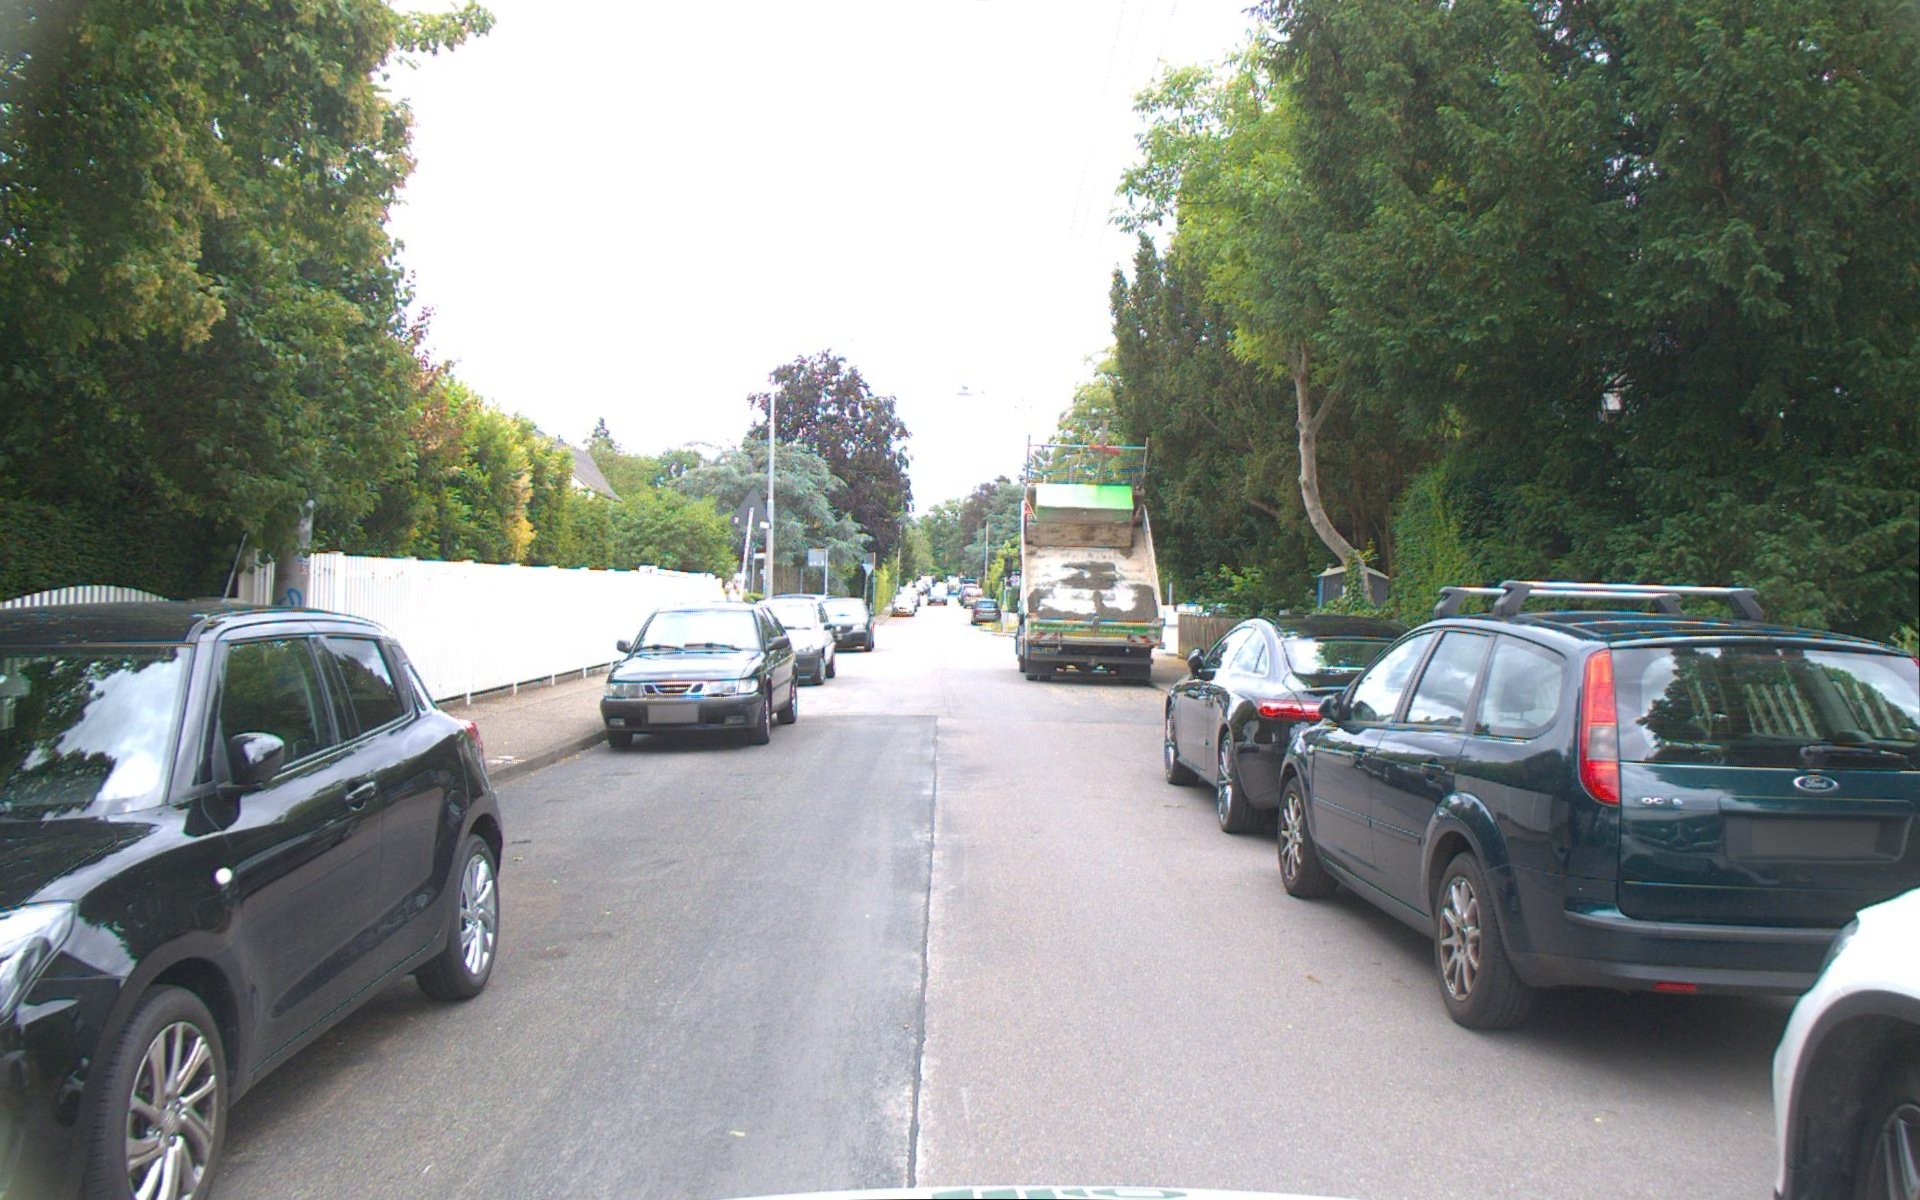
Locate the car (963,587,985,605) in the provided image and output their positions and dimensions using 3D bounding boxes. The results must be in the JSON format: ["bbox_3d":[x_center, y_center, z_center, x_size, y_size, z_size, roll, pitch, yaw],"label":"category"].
[{"bbox_3d":[1.194,-0.344,145.336,1.774,1.359,3.632,2,2,-2],"label":"car"}]

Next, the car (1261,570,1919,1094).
[{"bbox_3d":[2.626,0.701,7.242,1.664,1.598,4.307,0,0,-2],"label":"car"}]

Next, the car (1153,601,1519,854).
[{"bbox_3d":[2.571,0.783,12.424,1.618,1.448,4.660,2,0,0],"label":"car"}]

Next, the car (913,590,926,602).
[{"bbox_3d":[-5.174,-0.561,210.008,1.594,1.410,3.597,3,0,-1],"label":"car"}]

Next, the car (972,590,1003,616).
[{"bbox_3d":[1.665,0.173,101.788,1.743,1.515,3.999,1,0,-2],"label":"car"}]

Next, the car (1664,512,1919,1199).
[{"bbox_3d":[2.690,0.700,1.659,1.723,1.634,4.571,2,0,-4],"label":"car"}]

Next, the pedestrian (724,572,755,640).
[{"bbox_3d":[-6.792,0.176,50.966,0.835,2.049,0.700,3,0,-6],"label":"pedestrian"}]

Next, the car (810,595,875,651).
[{"bbox_3d":[-3.169,0.593,45.202,1.604,1.419,3.987,-1,1,-2],"label":"car"}]

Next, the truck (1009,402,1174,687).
[{"bbox_3d":[2.379,-0.982,32.110,2.473,4.831,7.187,2,0,0],"label":"truck"}]

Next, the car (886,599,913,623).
[{"bbox_3d":[-4.433,0.787,121.454,1.676,1.613,4.001,1,0,2],"label":"car"}]

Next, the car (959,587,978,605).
[{"bbox_3d":[0.823,-0.395,154.198,1.752,1.556,3.734,1,1,1],"label":"car"}]

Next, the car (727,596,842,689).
[{"bbox_3d":[-3.022,0.687,29.083,1.563,1.458,4.000,-1,0,0],"label":"car"}]

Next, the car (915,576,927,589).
[{"bbox_3d":[-6.045,-2.647,257.109,1.781,1.914,3.999,3,0,-1],"label":"car"}]

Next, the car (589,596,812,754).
[{"bbox_3d":[-2.698,0.721,18.169,1.607,1.447,4.550,-2,0,1],"label":"car"}]

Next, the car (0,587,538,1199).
[{"bbox_3d":[-2.557,0.751,4.813,1.621,1.507,3.888,-2,1,0],"label":"car"}]

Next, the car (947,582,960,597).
[{"bbox_3d":[-0.803,-1.327,210.012,1.601,1.731,3.493,1,1,-1],"label":"car"}]

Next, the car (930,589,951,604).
[{"bbox_3d":[-1.780,-0.336,154.519,1.692,1.432,3.805,1,0,3],"label":"car"}]
